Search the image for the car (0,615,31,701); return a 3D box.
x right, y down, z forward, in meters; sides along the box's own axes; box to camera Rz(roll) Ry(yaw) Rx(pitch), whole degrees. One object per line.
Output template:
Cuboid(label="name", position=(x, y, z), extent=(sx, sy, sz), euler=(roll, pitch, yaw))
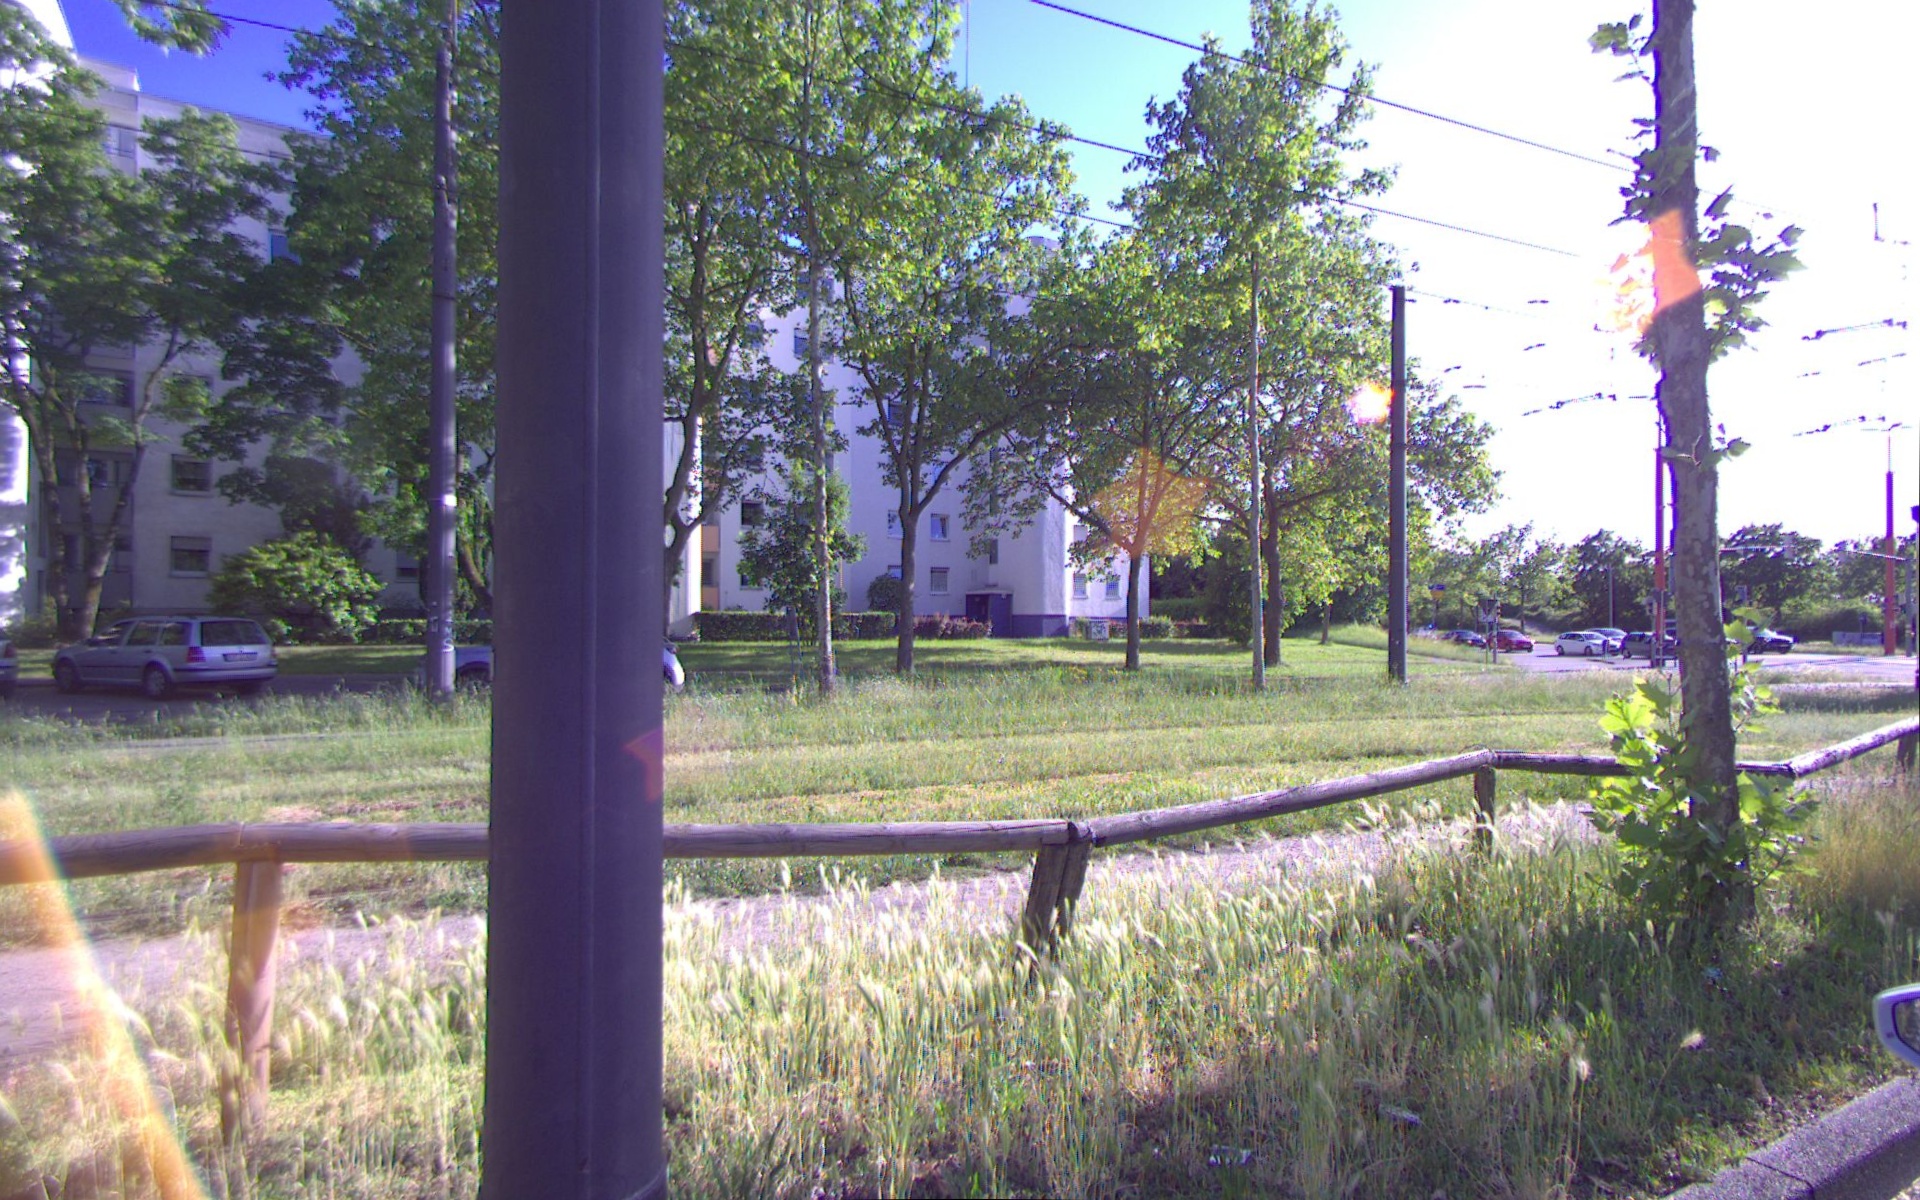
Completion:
Cuboid(label="car", position=(-17.948, 0.954, 17.119), extent=(3.547, 1.439, 1.576), euler=(1, 0, 18))

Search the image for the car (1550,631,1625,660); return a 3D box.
Cuboid(label="car", position=(38.947, 2.790, 62.474), extent=(1.833, 1.633, 4.185), euler=(1, -1, -4))

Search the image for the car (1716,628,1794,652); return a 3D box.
Cuboid(label="car", position=(48.780, 2.426, 61.732), extent=(1.664, 1.347, 4.001), euler=(1, -1, 2))

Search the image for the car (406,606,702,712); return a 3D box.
Cuboid(label="car", position=(-6.584, 0.918, 16.464), extent=(4.275, 1.543, 1.799), euler=(1, -1, -28))

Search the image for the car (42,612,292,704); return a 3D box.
Cuboid(label="car", position=(-14.550, 0.998, 18.464), extent=(3.898, 1.462, 1.710), euler=(1, 0, 18))

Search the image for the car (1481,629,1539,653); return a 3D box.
Cuboid(label="car", position=(38.459, 2.860, 70.395), extent=(1.699, 1.533, 3.998), euler=(1, -1, -4))

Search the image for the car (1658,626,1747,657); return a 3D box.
Cuboid(label="car", position=(42.520, 2.339, 57.659), extent=(1.962, 1.666, 3.997), euler=(1, -1, -5))
